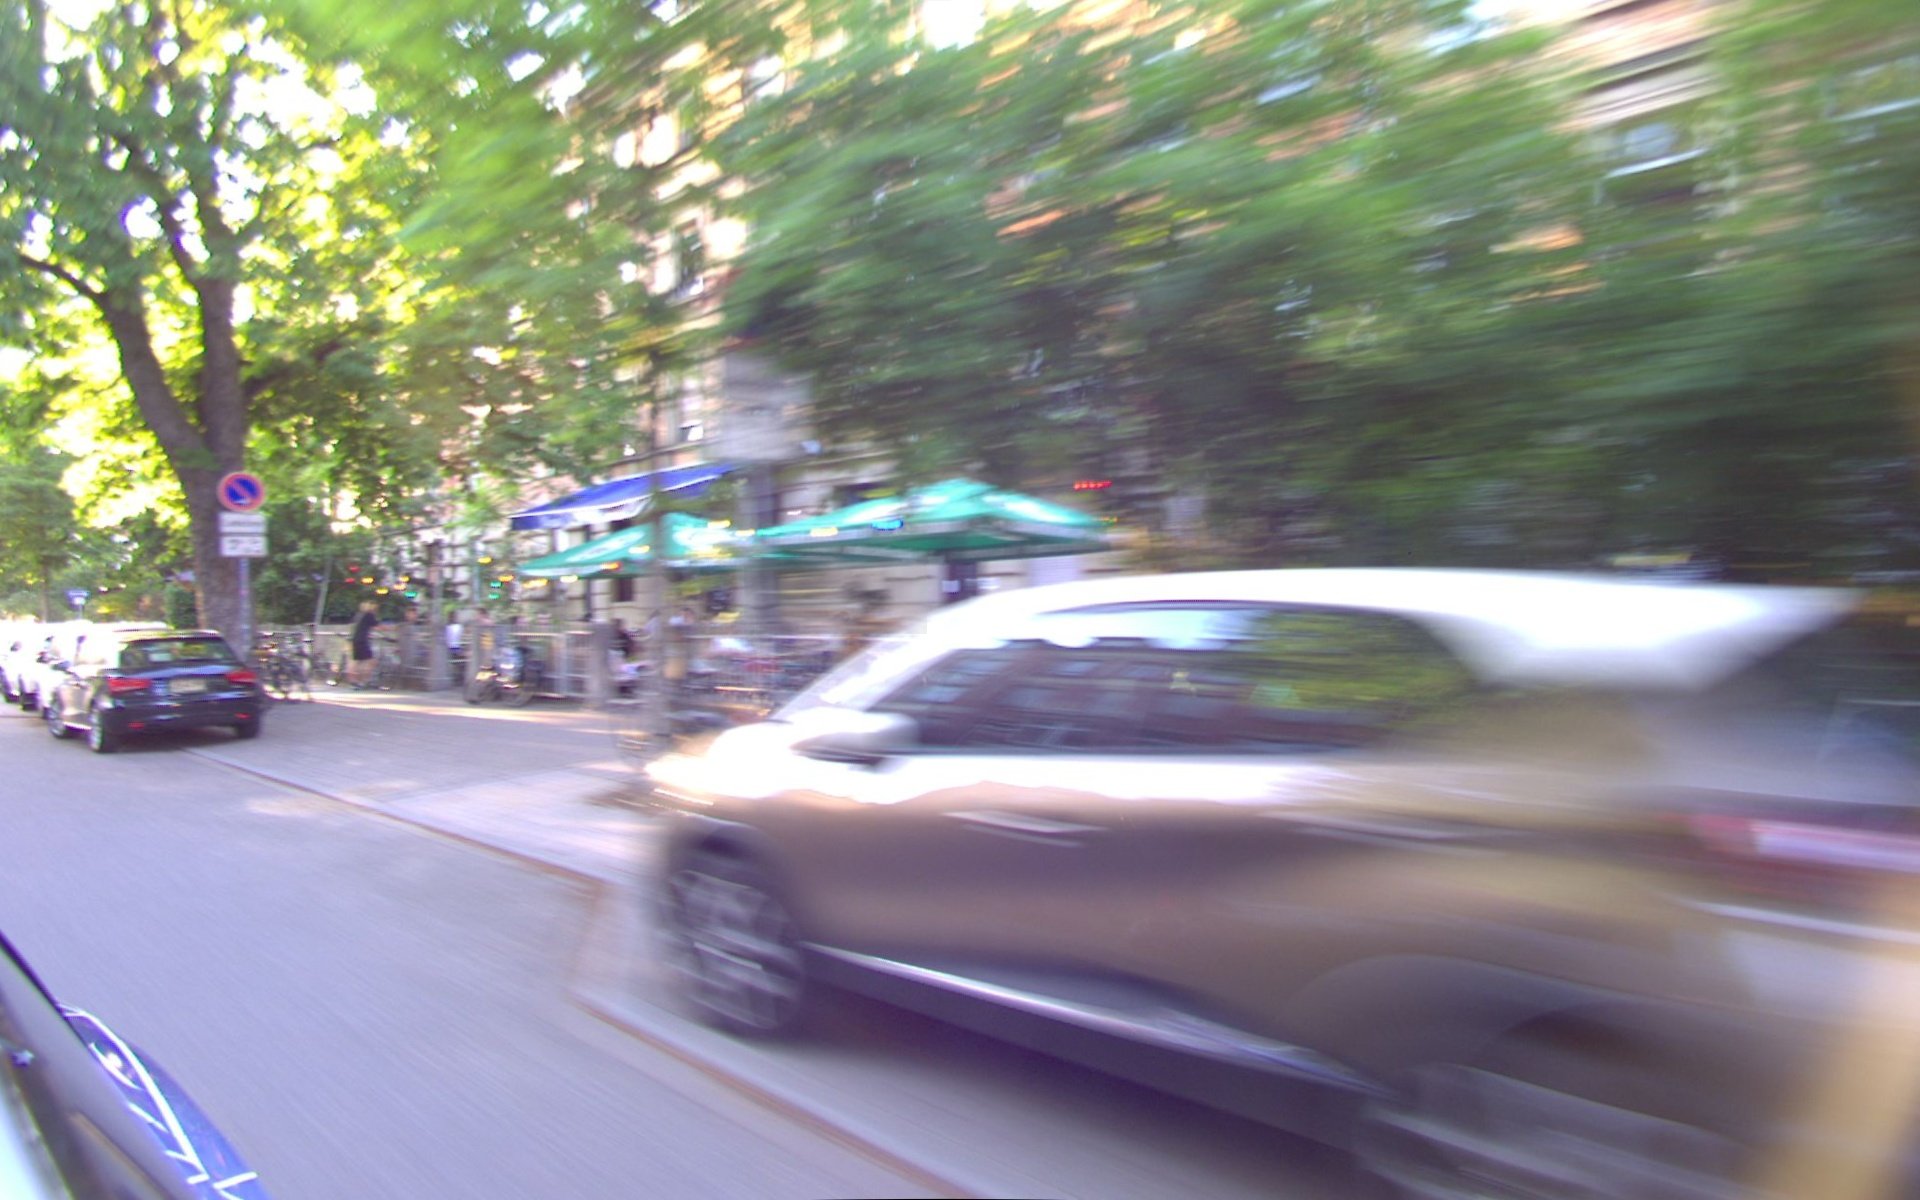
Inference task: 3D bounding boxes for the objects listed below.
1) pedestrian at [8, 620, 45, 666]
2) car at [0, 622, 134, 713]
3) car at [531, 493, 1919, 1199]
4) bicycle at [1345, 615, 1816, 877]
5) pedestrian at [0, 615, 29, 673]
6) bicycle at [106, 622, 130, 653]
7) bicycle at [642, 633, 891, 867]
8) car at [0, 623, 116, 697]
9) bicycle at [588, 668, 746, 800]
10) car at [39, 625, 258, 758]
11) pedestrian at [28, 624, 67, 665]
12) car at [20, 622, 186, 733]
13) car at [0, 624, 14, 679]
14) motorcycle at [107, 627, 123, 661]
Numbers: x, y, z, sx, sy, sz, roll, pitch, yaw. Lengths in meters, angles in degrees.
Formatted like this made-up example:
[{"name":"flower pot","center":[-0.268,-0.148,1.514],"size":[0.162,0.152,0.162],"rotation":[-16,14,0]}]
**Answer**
[{"name":"pedestrian","center":[-37.880,1.745,41.077],"size":[1.000,1.849,0.684],"rotation":[-1,-2,15]},{"name":"car","center":[-17.018,1.215,19.126],"size":[3.885,1.446,1.586],"rotation":[-2,1,42]},{"name":"car","center":[0.538,0.646,3.318],"size":[4.397,1.575,1.673],"rotation":[-2,1,39]},{"name":"bicycle","center":[3.622,0.756,6.271],"size":[0.597,1.294,2.493],"rotation":[0,-1,-29]},{"name":"pedestrian","center":[-33.647,1.547,35.663],"size":[1.002,2.029,0.863],"rotation":[-1,-2,21]},{"name":"bicycle","center":[-32.453,1.452,38.985],"size":[1.746,1.151,0.387],"rotation":[-3,6,44]},{"name":"bicycle","center":[-1.295,0.866,6.459],"size":[1.900,1.264,0.477],"rotation":[-2,2,44]},{"name":"car","center":[-20.943,1.318,22.826],"size":[4.591,1.422,1.824],"rotation":[-2,1,36]},{"name":"bicycle","center":[-2.479,1.071,8.444],"size":[1.735,0.936,0.411],"rotation":[-2,1,44]},{"name":"car","center":[-10.674,1.102,13.233],"size":[3.690,1.497,1.536],"rotation":[-2,-2,40]},{"name":"pedestrian","center":[-36.708,1.780,40.709],"size":[1.043,1.643,0.684],"rotation":[-1,-2,15]},{"name":"car","center":[-13.873,1.179,16.321],"size":[3.693,1.496,1.535],"rotation":[-2,1,42]},{"name":"car","center":[-28.249,1.514,28.683],"size":[3.707,1.504,1.647],"rotation":[-2,1,40]},{"name":"motorcycle","center":[-30.623,1.574,36.674],"size":[0.386,1.194,1.960],"rotation":[-2,0,-39]}]
